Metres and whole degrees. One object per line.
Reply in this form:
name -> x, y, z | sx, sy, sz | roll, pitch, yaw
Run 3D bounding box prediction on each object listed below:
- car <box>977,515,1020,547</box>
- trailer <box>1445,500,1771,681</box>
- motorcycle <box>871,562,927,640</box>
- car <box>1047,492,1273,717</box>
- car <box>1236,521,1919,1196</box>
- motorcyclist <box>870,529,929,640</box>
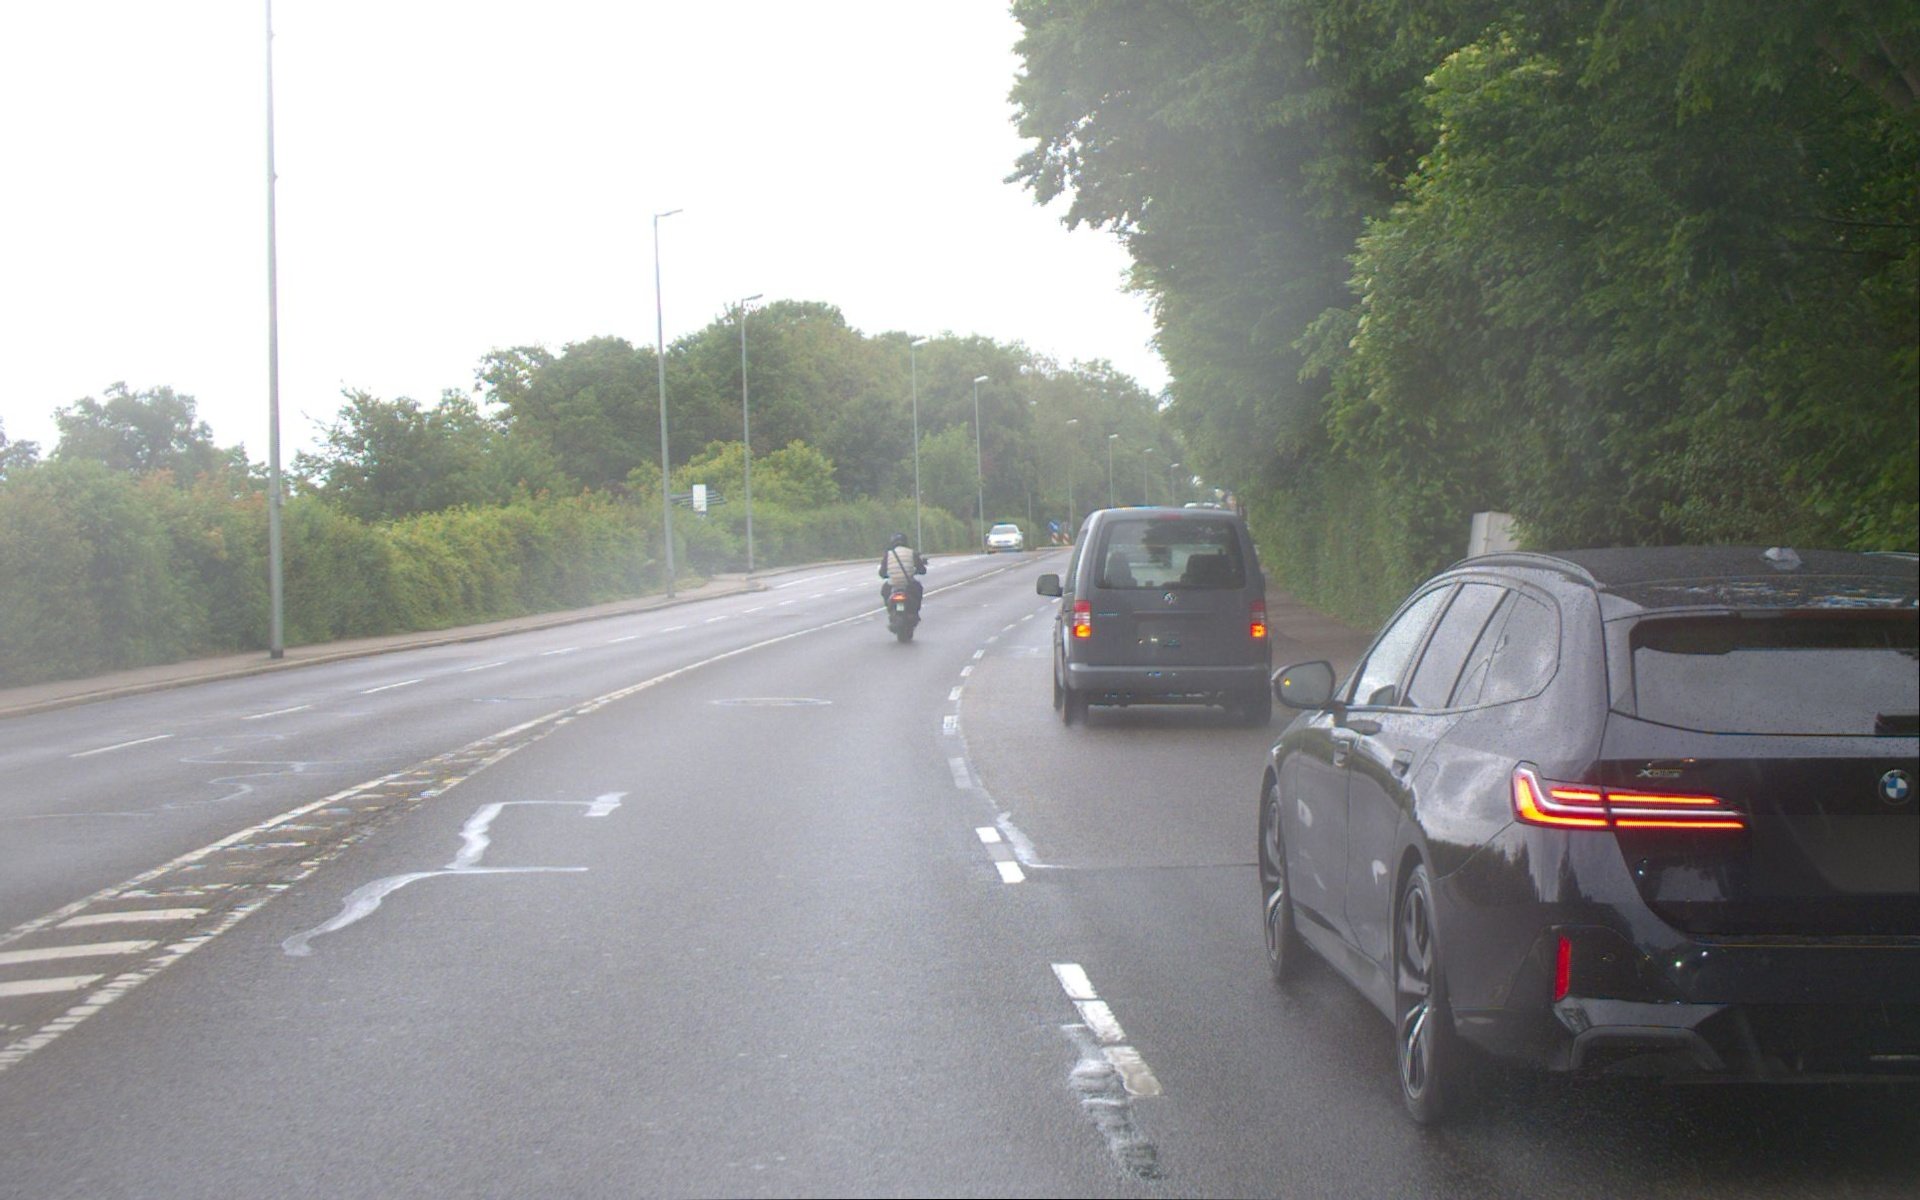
car -> 2.062, -3.723, 185.751 | 1.748, 1.656, 3.856 | 0, 2, -8
trailer -> 7.410, -0.124, 39.453 | 3.348, 1.642, 1.198 | 7, 2, 1
motorcycle -> -0.912, 0.008, 51.850 | 0.741, 1.115, 1.426 | 0, 2, 3
car -> 1.669, -0.023, 29.750 | 1.767, 1.803, 3.905 | -1, 2, 1
car -> 1.959, 0.570, 9.699 | 1.764, 1.531, 3.673 | 1, 1, -5
motorcyclist -> -0.910, -0.240, 51.823 | 0.845, 1.641, 0.468 | -1, 2, 3
